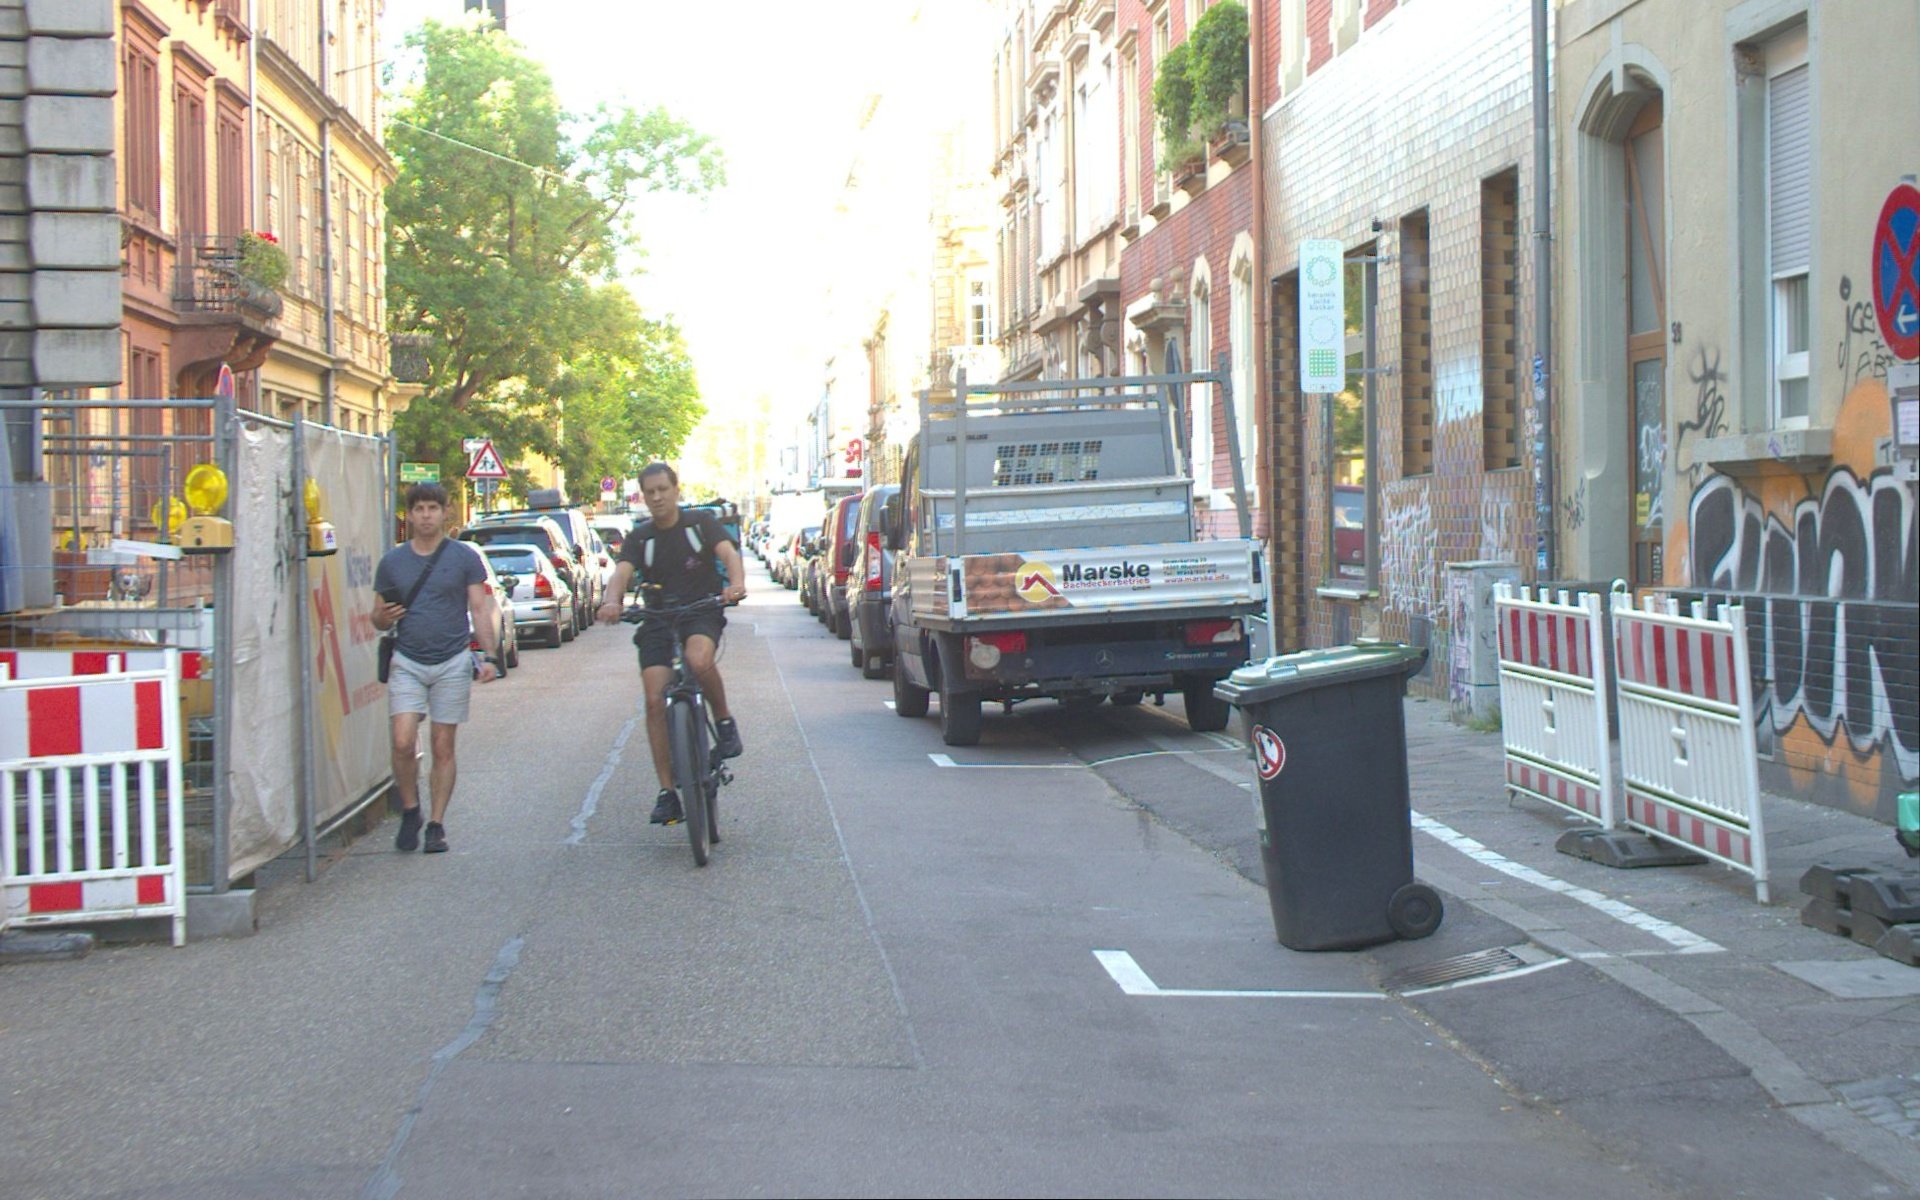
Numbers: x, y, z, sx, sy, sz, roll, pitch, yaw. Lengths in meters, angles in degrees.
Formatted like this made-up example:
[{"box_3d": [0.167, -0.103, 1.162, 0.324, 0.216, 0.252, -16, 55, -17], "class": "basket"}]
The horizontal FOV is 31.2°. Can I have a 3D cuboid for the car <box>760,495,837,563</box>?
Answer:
[{"box_3d": [-4.640, -2.046, 98.490, 1.993, 1.842, 4.001, -2, 2, -5], "class": "car"}]

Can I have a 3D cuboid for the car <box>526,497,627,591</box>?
[{"box_3d": [-6.746, -0.998, 60.698, 1.674, 1.565, 3.870, -1, 1, -6], "class": "car"}]

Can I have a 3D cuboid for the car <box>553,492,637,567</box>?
[{"box_3d": [-9.410, -1.837, 88.848, 1.993, 1.842, 4.001, -2, 2, -5], "class": "car"}]

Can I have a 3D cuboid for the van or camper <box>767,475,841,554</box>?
[{"box_3d": [-5.207, -2.839, 114.069, 1.993, 2.499, 4.203, -2, 2, -8], "class": "van or camper"}]

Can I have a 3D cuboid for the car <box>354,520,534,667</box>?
[{"box_3d": [-5.436, -0.105, 36.559, 1.674, 1.440, 3.870, -1, 1, -6], "class": "car"}]

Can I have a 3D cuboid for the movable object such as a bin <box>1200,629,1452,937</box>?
[{"box_3d": [1.319, 0.649, 12.493, 0.795, 1.052, 0.660, -1, 1, -3], "class": "movable object such as a bin"}]

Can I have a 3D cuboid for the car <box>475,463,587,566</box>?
[{"box_3d": [-6.895, -1.367, 55.479, 1.674, 1.565, 3.870, -1, 1, -6], "class": "car"}]

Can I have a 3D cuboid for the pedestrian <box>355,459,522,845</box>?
[{"box_3d": [-2.401, 0.225, 15.893, 0.657, 1.726, 0.720, -1, 1, -3], "class": "pedestrian"}]

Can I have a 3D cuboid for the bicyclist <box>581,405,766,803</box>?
[{"box_3d": [-1.287, 0.003, 15.577, 0.730, 1.755, 0.835, 0, 2, 2], "class": "bicyclist"}]

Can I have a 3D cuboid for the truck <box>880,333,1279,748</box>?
[{"box_3d": [0.717, -0.453, 24.719, 2.189, 2.598, 5.235, -2, 2, -5], "class": "truck"}]

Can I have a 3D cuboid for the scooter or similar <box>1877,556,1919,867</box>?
[{"box_3d": [3.868, 0.432, 12.706, 0.418, 1.174, 1.496, -3, 2, -4], "class": "scooter or similar"}]

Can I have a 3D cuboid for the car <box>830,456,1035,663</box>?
[{"box_3d": [-0.340, -0.430, 35.182, 1.674, 1.956, 4.110, -1, 1, -6], "class": "car"}]

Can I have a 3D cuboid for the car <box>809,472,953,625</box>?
[{"box_3d": [-1.140, -0.731, 48.034, 1.674, 2.024, 3.870, -1, 1, -6], "class": "car"}]

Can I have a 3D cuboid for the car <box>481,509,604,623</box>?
[{"box_3d": [-6.065, -0.517, 50.265, 1.674, 1.565, 3.870, -1, 1, -6], "class": "car"}]

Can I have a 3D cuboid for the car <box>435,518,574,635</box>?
[{"box_3d": [-5.966, -0.335, 45.358, 1.674, 1.440, 3.870, -1, 1, -6], "class": "car"}]

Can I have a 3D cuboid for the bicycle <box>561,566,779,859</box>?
[{"box_3d": [-1.287, 0.468, 15.637, 0.724, 1.182, 2.042, 0, 2, 3], "class": "bicycle"}]

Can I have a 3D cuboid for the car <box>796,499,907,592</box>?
[{"box_3d": [-1.963, -0.979, 61.114, 1.674, 1.565, 3.870, -1, 1, -6], "class": "car"}]

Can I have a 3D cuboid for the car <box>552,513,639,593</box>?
[{"box_3d": [-8.841, -1.165, 83.674, 1.993, 1.842, 4.001, -1, 2, -5], "class": "car"}]

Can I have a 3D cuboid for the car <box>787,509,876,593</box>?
[{"box_3d": [-3.214, -1.244, 85.524, 1.993, 2.006, 4.001, -1, 2, -5], "class": "car"}]
